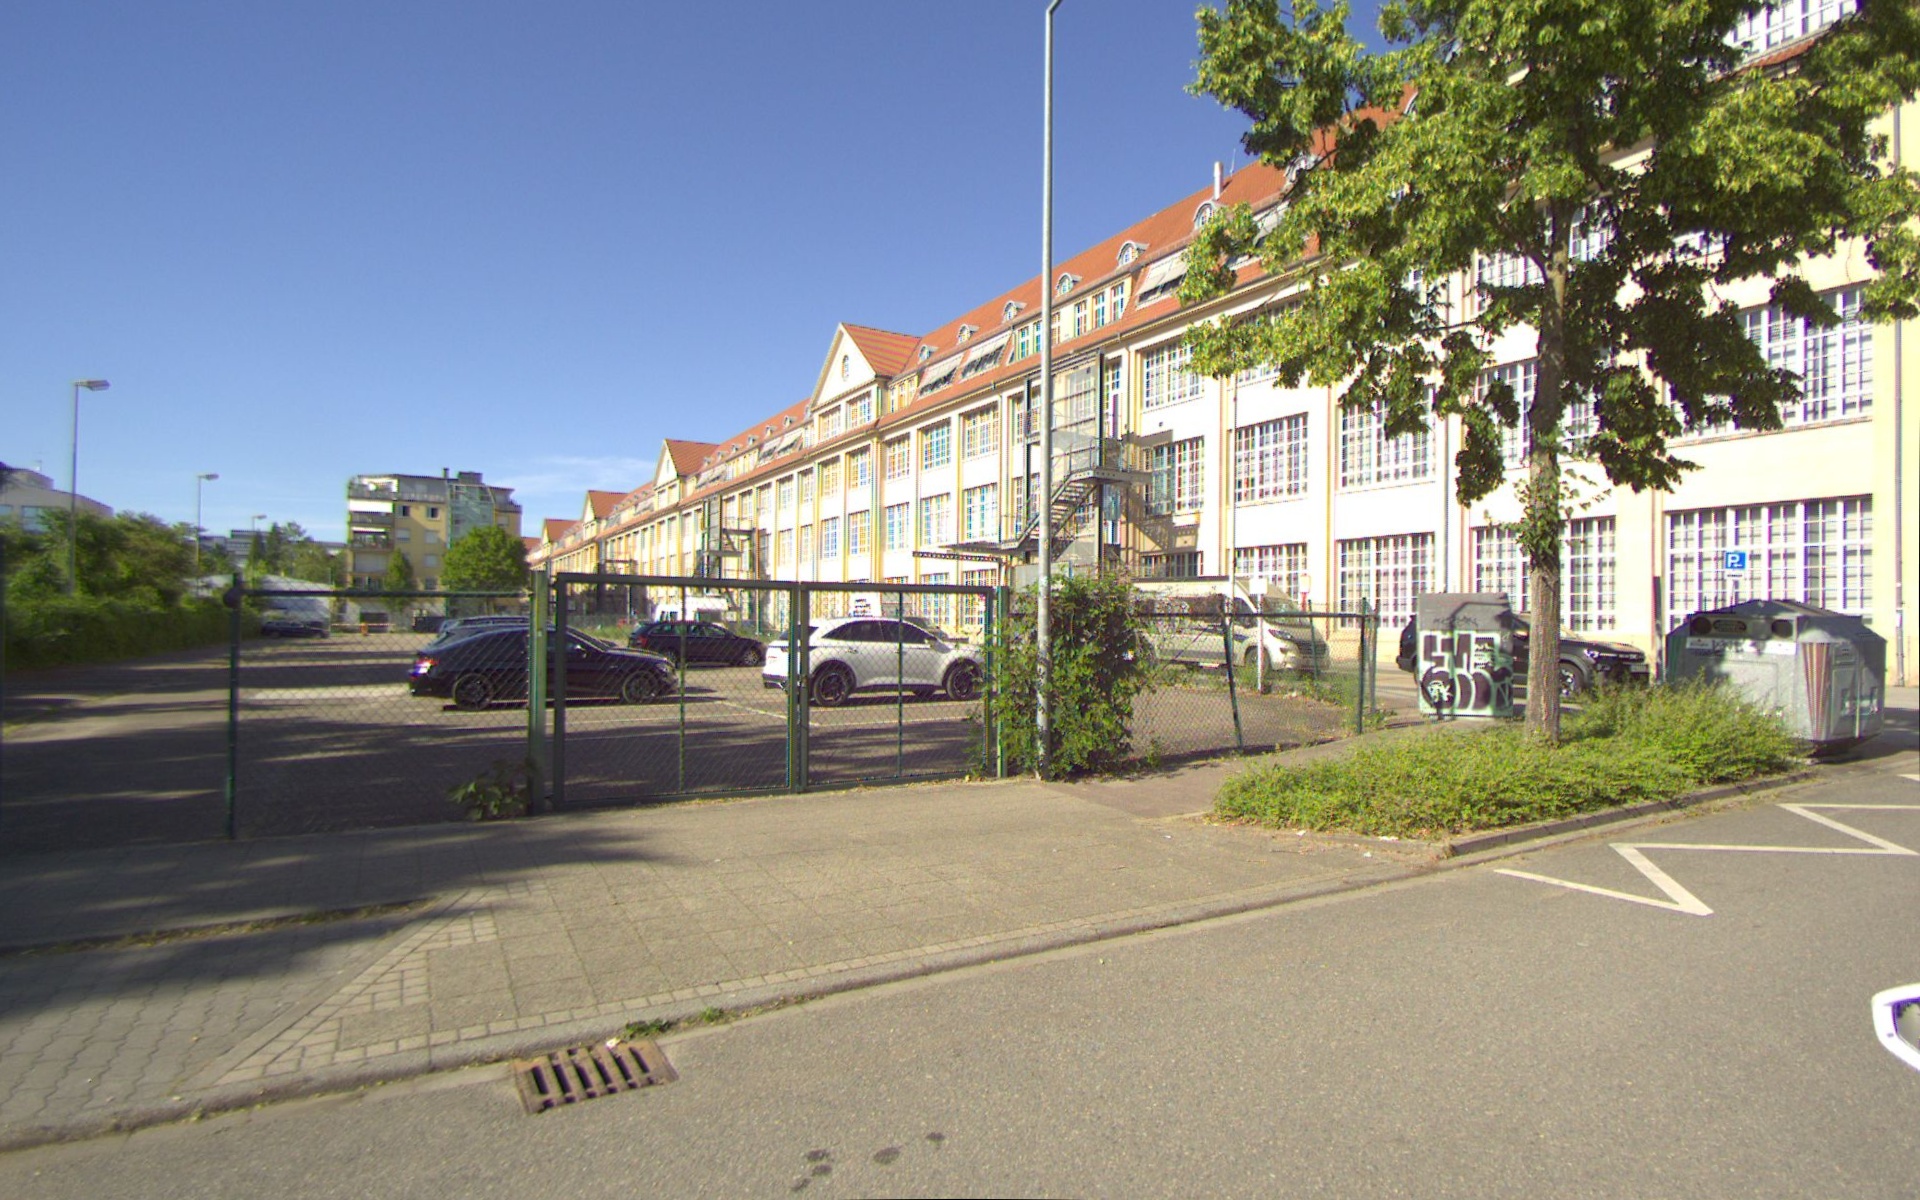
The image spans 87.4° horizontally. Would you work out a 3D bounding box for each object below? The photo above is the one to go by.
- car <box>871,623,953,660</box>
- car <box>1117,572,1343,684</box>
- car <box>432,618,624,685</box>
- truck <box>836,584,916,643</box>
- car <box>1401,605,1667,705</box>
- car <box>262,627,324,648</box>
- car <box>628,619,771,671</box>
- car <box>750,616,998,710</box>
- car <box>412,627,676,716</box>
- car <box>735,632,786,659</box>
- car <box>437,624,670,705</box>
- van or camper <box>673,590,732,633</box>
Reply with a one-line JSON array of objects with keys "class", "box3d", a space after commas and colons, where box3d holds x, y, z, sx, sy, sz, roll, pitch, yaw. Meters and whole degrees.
[{"class": "car", "box3d": [-2.072, 1.709, 42.241, 1.829, 1.444, 4.193, 1, -2, -29]}, {"class": "car", "box3d": [6.960, 0.730, 26.808, 2.139, 2.631, 6.236, 1, -2, -29]}, {"class": "car", "box3d": [-10.880, 1.254, 25.377, 4.319, 1.580, 1.959, 1, -1, -28]}, {"class": "truck", "box3d": [-5.413, 0.830, 63.568, 2.469, 3.476, 7.077, 2, -1, -27]}, {"class": "car", "box3d": [10.937, 0.995, 19.436, 1.975, 1.718, 4.074, 2, -2, -28]}, {"class": "car", "box3d": [-53.597, 3.026, 80.807, 3.953, 1.639, 1.984, 2, -1, -30]}, {"class": "car", "box3d": [-8.449, 1.429, 32.634, 4.189, 1.580, 1.884, 1, -1, -28]}, {"class": "car", "box3d": [-1.643, 1.150, 19.444, 4.370, 1.631, 1.986, 1, -1, -28]}, {"class": "car", "box3d": [-7.680, 1.254, 18.687, 4.319, 1.475, 1.959, 1, -1, -28]}, {"class": "car", "box3d": [-11.918, 2.683, 59.831, 1.829, 1.444, 4.193, 2, -2, -29]}, {"class": "car", "box3d": [-8.460, 1.284, 20.969, 4.319, 1.515, 1.959, 1, -1, -28]}, {"class": "van or camper", "box3d": [-18.357, 0.838, 71.488, 2.693, 2.895, 5.092, 2, -1, -31]}]
